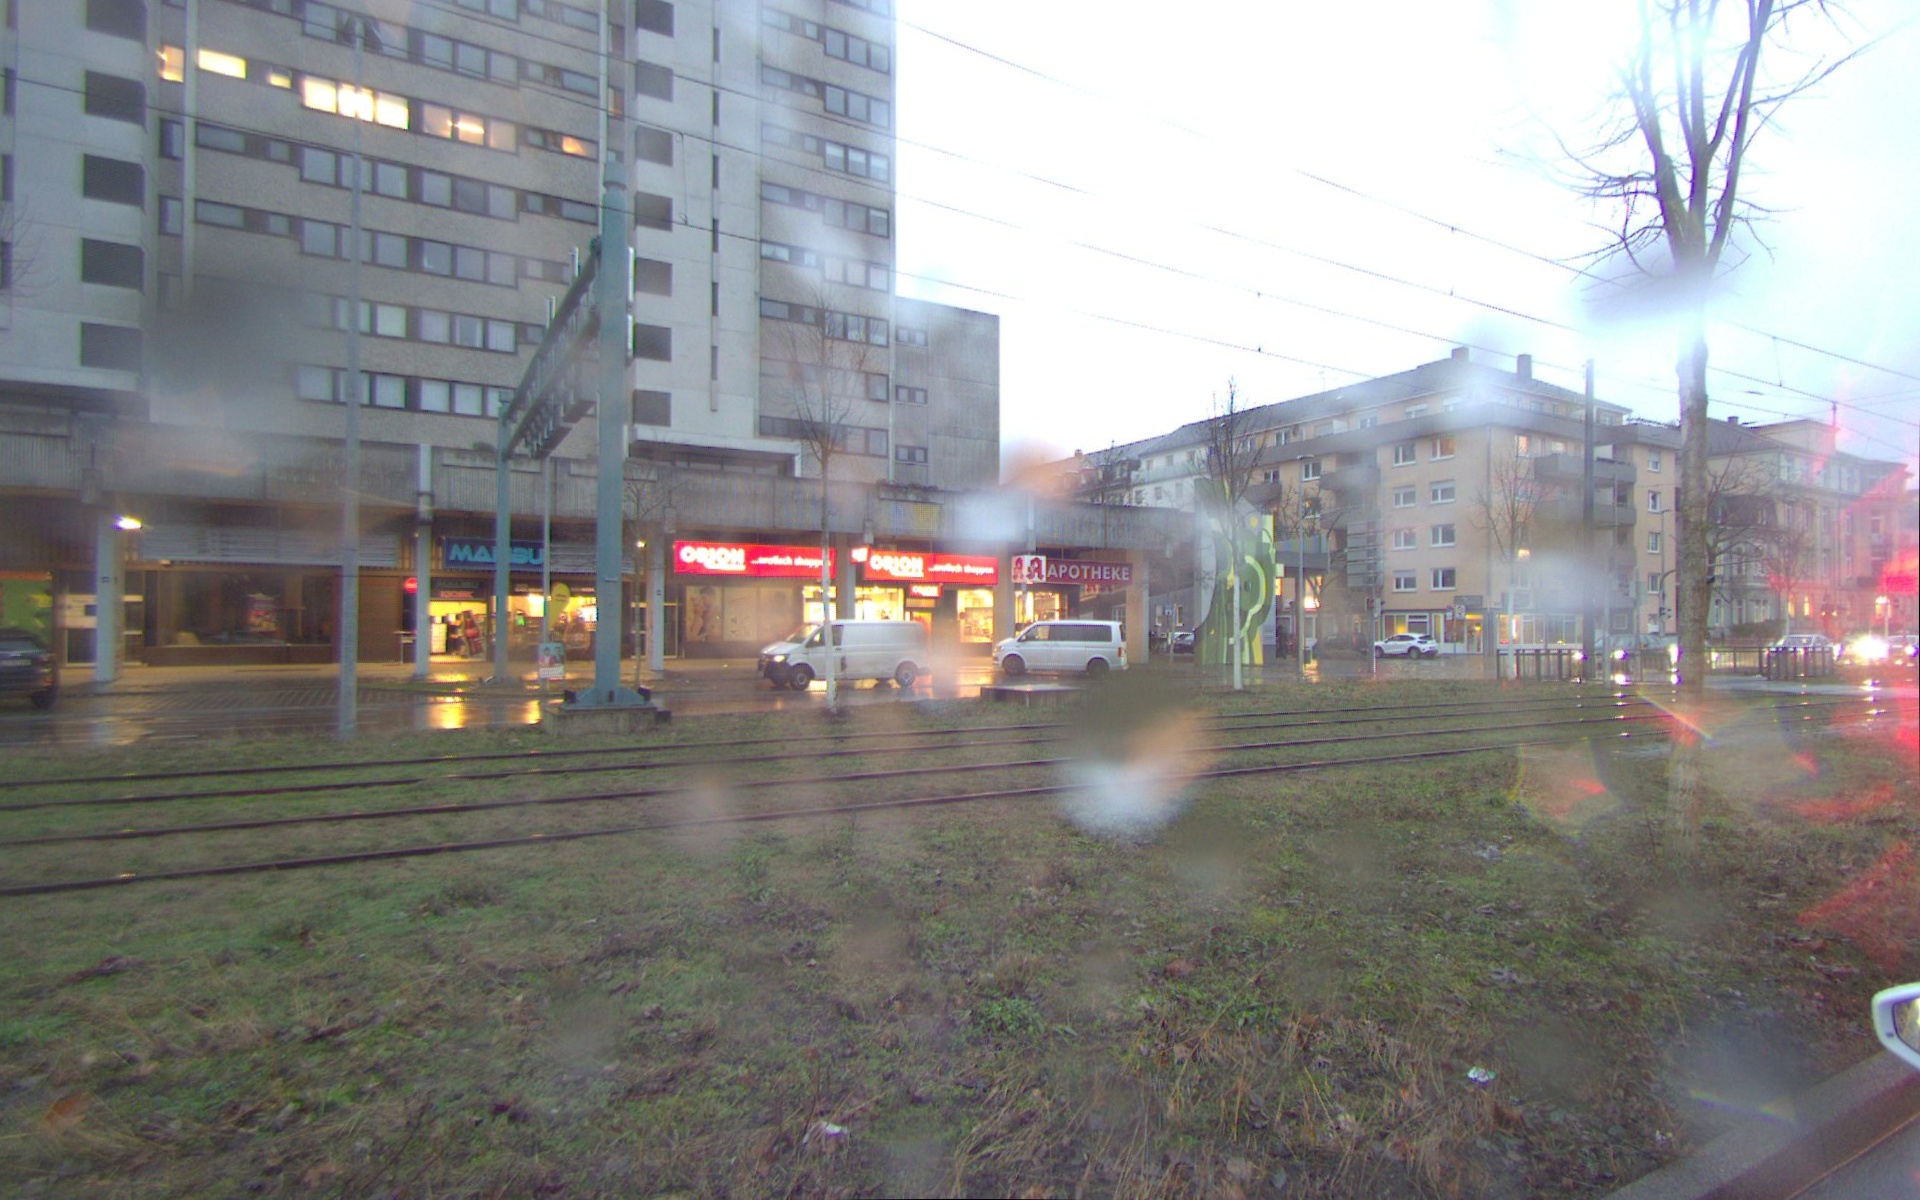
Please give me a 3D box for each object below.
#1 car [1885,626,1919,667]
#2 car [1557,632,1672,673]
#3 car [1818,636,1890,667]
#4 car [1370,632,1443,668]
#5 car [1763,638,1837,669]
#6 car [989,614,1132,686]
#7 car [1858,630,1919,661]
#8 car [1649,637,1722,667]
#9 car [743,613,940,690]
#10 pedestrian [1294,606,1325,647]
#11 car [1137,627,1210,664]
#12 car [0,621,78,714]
[{"bbox_3d":[40.690,1.948,41.948,3.954,1.623,1.983,2,0,-31],"label":"car"},{"bbox_3d":[24.378,1.931,37.391,4.265,1.350,1.850,2,0,-30],"label":"car"},{"bbox_3d":[51.578,2.963,57.927,3.952,1.623,1.941,2,0,-30],"label":"car"},{"bbox_3d":[27.833,3.083,62.655,1.825,1.968,3.720,1,0,-37],"label":"car"},{"bbox_3d":[38.424,2.415,45.897,4.108,1.294,1.679,2,-2,-36],"label":"car"},{"bbox_3d":[3.566,1.703,35.444,4.734,2.274,2.001,2,0,15],"label":"car"},{"bbox_3d":[49.538,2.386,53.186,3.953,1.598,1.858,1,-1,-30],"label":"car"},{"bbox_3d":[33.618,2.387,46.525,3.501,1.294,1.680,1,-2,-35],"label":"car"},{"bbox_3d":[-3.504,1.516,29.977,5.490,2.073,1.987,2,0,-26],"label":"car"},{"bbox_3d":[17.560,1.322,50.469,1.253,2.040,1.004,-1,-1,37],"label":"pedestrian"},{"bbox_3d":[12.389,2.623,58.174,3.830,2.040,1.884,2,0,-31],"label":"car"},{"bbox_3d":[-20.776,1.368,21.189,4.067,1.715,1.982,2,0,28],"label":"car"}]
